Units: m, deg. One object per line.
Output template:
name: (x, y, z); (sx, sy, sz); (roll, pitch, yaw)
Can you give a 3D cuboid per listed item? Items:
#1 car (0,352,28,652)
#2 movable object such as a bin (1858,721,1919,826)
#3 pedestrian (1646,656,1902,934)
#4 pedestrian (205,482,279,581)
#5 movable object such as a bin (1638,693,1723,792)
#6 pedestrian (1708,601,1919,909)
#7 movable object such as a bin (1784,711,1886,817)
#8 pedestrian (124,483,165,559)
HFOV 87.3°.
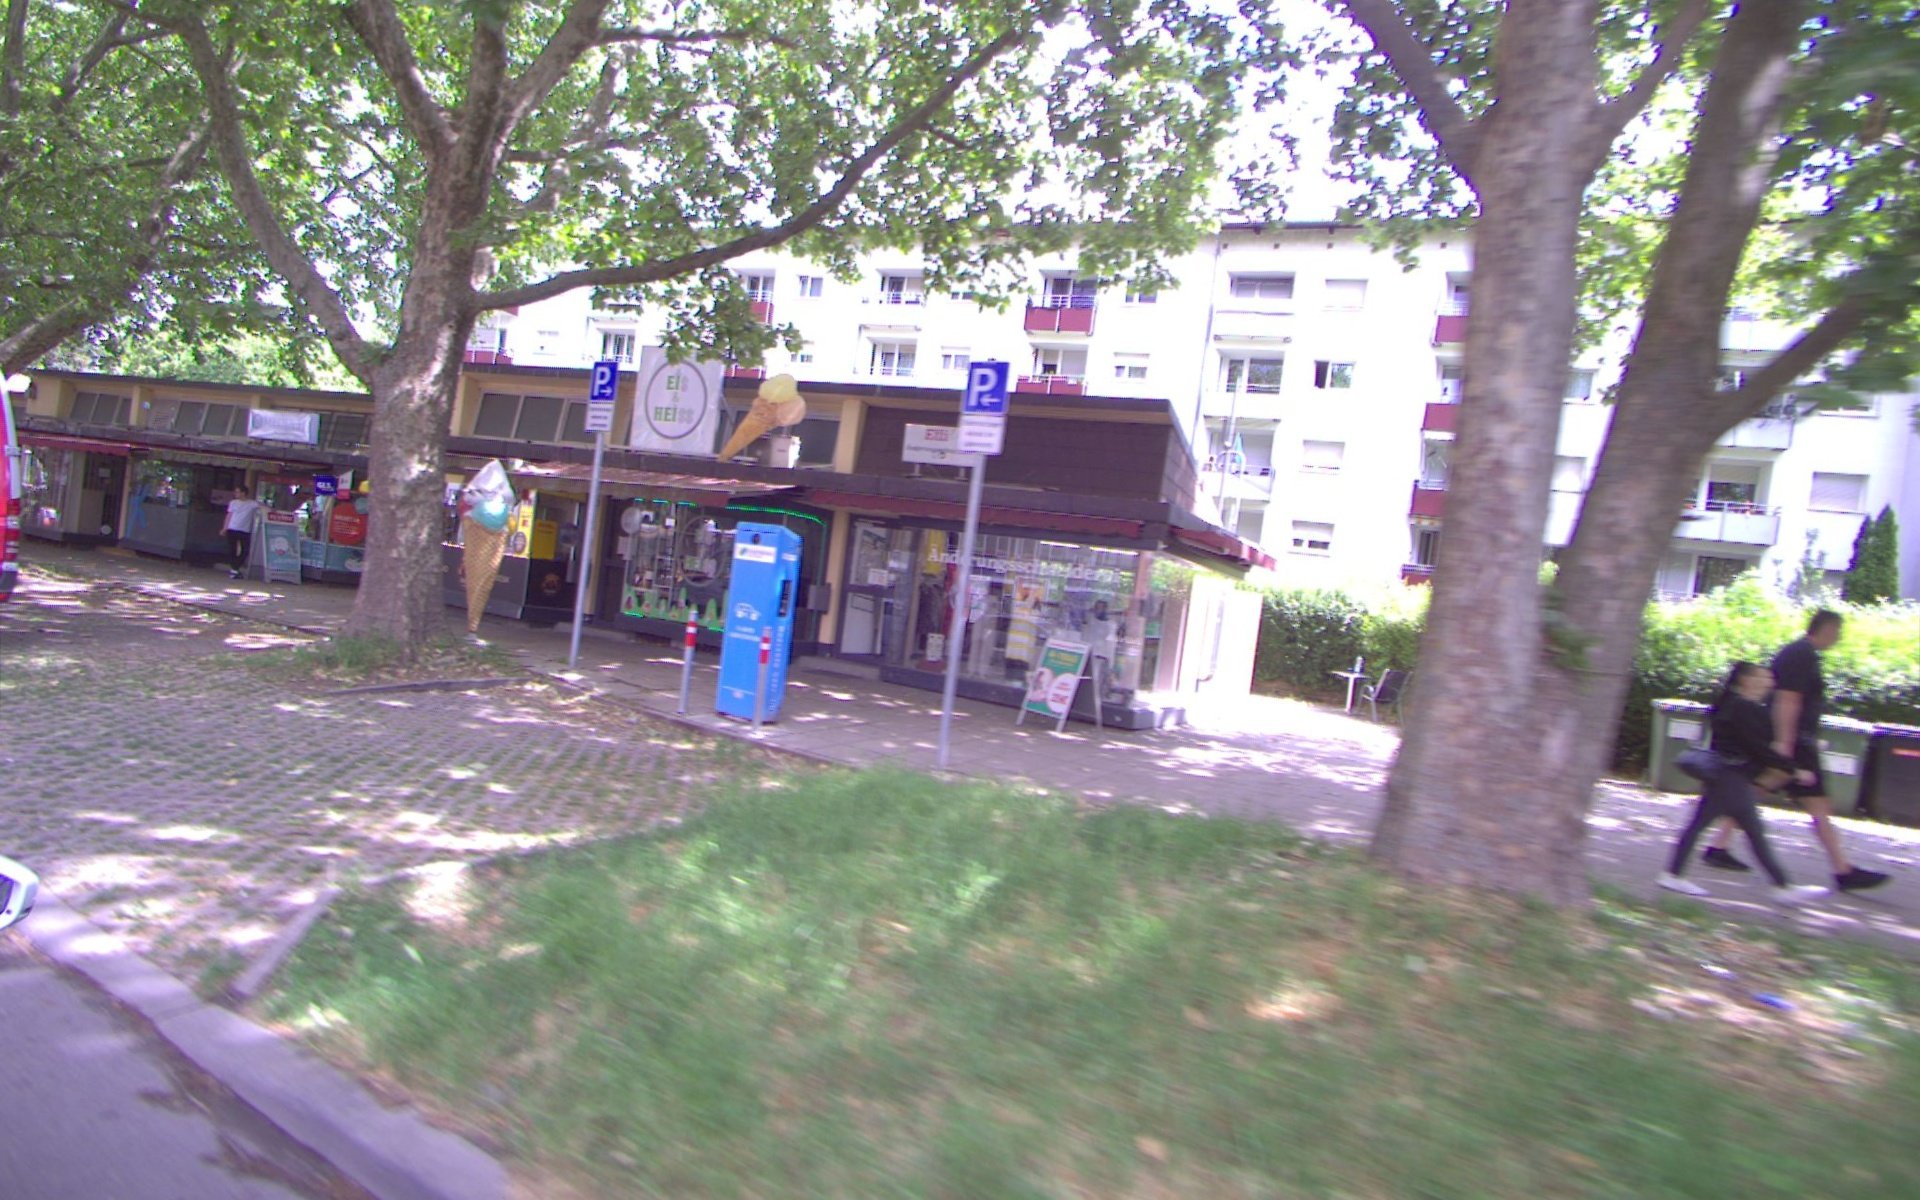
car: (-11.674, -1.218, 9.878); (6.720, 2.615, 1.905); (7, 2, 32)
movable object such as a bin: (10.522, 1.929, 11.132); (0.636, 1.046, 0.625); (7, 1, 28)
pedestrian: (4.995, 1.148, 6.259); (1.011, 1.465, 0.626); (7, 1, 31)
pedestrian: (-14.122, -1.328, 19.814); (0.911, 1.824, 0.604); (5, 1, -14)
movable object such as a bin: (8.516, 1.671, 11.917); (0.636, 1.029, 0.625); (7, 1, 28)
pedestrian: (5.954, 1.013, 7.014); (0.926, 1.908, 0.743); (7, 2, 31)
movable object such as a bin: (9.906, 1.835, 11.414); (0.636, 1.046, 0.625); (7, 1, 28)
pedestrian: (-19.388, -1.867, 23.914); (0.366, 1.726, 0.545); (7, 1, 25)
